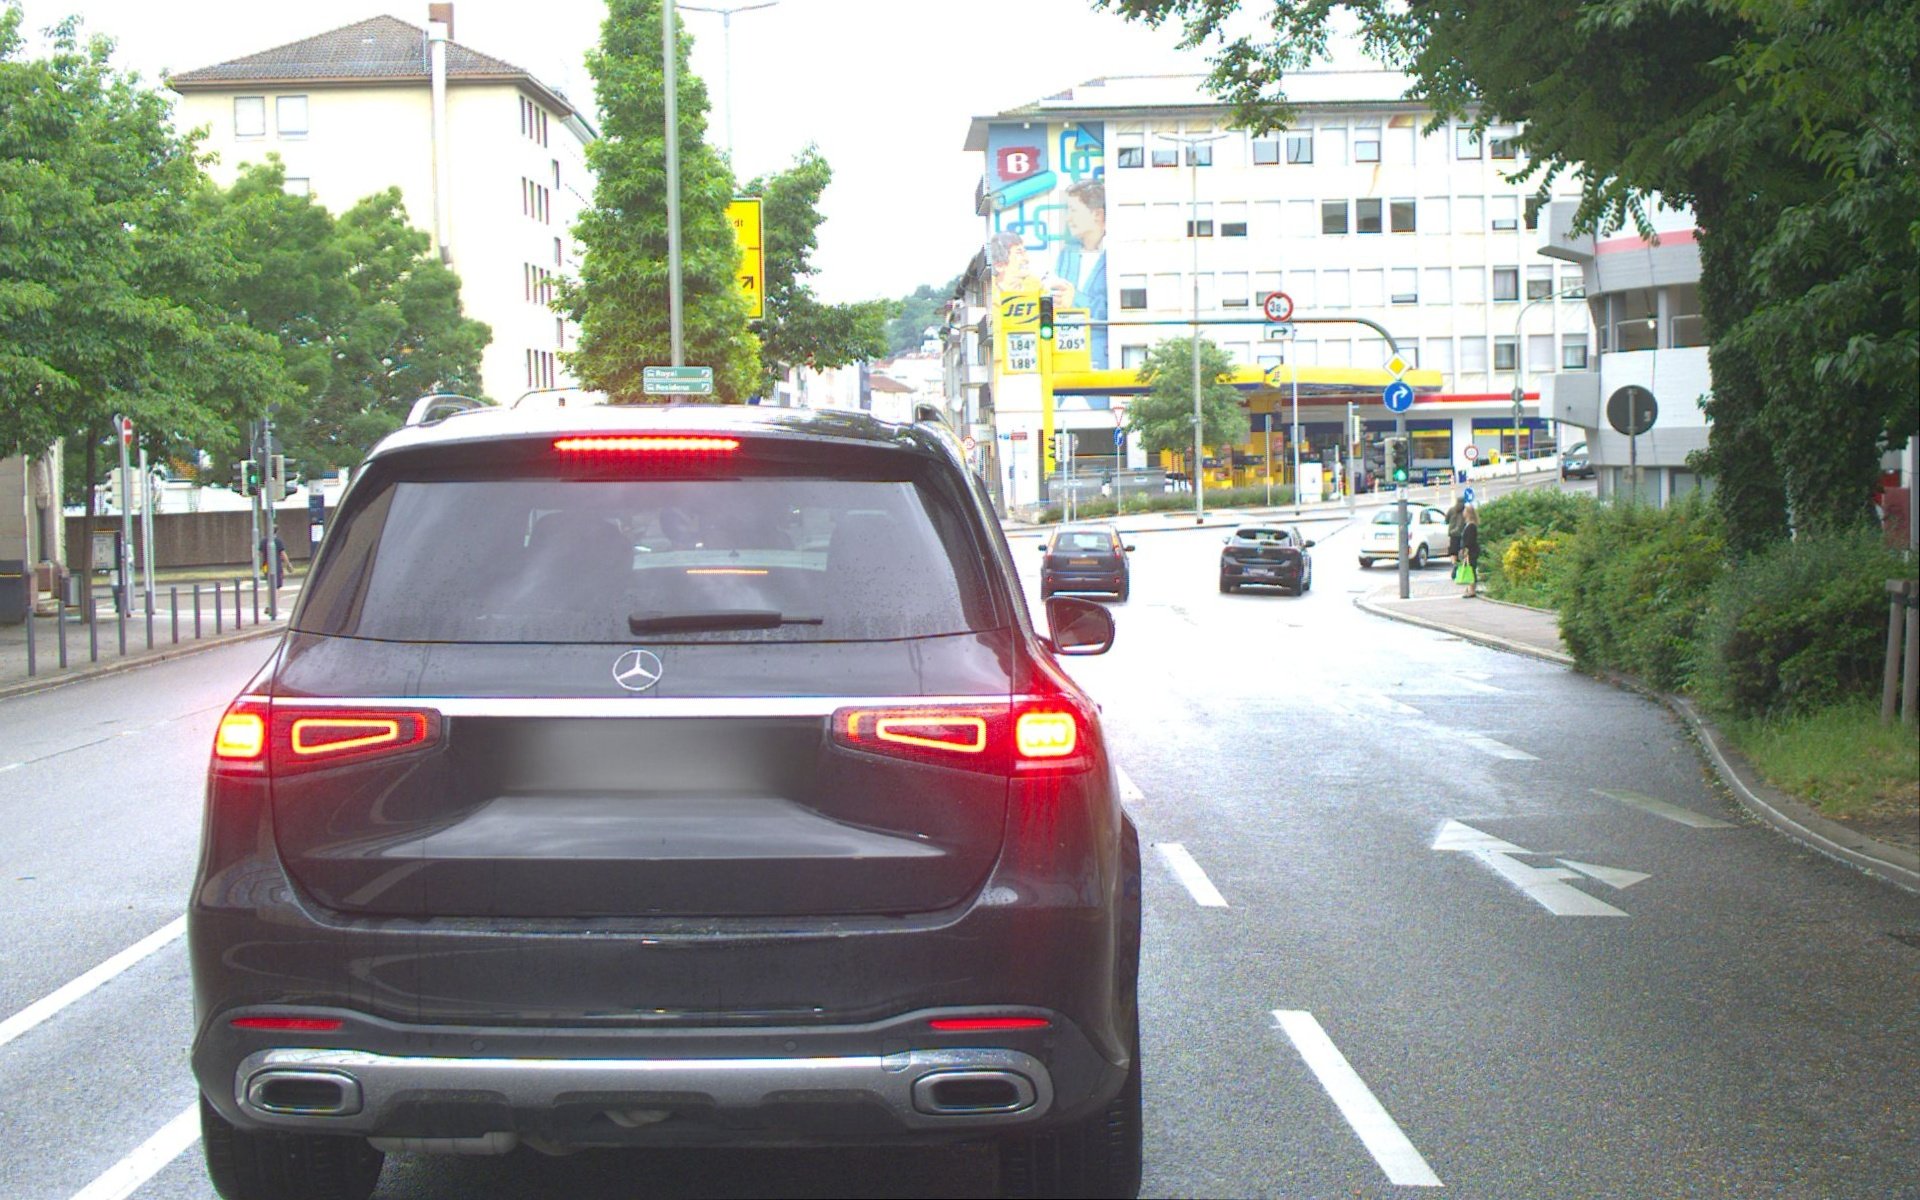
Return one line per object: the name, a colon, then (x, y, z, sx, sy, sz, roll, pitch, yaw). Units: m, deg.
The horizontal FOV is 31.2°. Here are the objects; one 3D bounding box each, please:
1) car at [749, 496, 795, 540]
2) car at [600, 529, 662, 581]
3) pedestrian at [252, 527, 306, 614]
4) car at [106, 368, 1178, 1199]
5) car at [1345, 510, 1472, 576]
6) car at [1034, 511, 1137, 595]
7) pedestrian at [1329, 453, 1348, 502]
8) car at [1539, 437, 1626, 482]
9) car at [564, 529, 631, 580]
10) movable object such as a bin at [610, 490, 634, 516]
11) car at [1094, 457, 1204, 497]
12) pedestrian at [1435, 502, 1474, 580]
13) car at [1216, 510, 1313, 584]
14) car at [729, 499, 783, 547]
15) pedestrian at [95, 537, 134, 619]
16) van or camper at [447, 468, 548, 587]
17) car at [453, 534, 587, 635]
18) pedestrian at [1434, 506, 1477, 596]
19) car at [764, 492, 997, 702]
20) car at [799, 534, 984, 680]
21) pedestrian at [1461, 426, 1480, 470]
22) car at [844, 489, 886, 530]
car: (-8.131, -3.536, 148.862, 1.868, 1.833, 3.820, 1, 1, -2)
car: (-11.083, -1.516, 115.910, 1.905, 1.697, 4.001, 1, 1, -3)
pedestrian: (-13.419, -0.576, 67.725, 0.946, 1.699, 0.713, 1, 0, -17)
car: (-0.623, 0.455, 8.465, 1.993, 1.794, 4.000, 1, 1, -1)
car: (10.990, -1.373, 84.067, 1.757, 1.543, 3.994, 1, 1, 28)
car: (2.408, -0.940, 66.869, 1.796, 1.520, 4.056, 1, 2, -1)
pedestrian: (13.260, -4.299, 120.333, 0.572, 1.691, 0.631, 1, 0, 1)
car: (25.073, -5.668, 138.315, 1.997, 1.700, 3.993, 0, 2, 33)
car: (-11.002, -1.368, 104.427, 1.797, 1.489, 3.804, 1, 1, -3)
movable object such as a bin: (-13.859, -3.968, 141.011, 0.910, 1.034, 0.844, 1, 0, 1)
car: (7.054, -4.594, 128.514, 1.732, 1.371, 3.998, -3, 3, -44)
pedestrian: (10.789, -1.282, 75.026, 0.717, 1.684, 0.456, 1, 0, -6)
car: (6.412, -1.094, 72.109, 1.946, 1.481, 3.999, 1, 1, 6)
car: (-7.517, -2.821, 126.696, 1.905, 1.697, 4.001, 1, 1, -3)
pedestrian: (-17.326, -0.462, 70.454, 0.642, 1.660, 1.019, 1, 0, -6)
van or camper: (-10.691, -1.661, 79.796, 2.101, 2.573, 5.909, -3, 1, -6)
car: (-6.967, -0.270, 54.698, 1.741, 1.465, 3.883, -3, 1, -3)
pedestrian: (9.434, -0.929, 65.466, 0.646, 1.704, 0.470, 1, 0, 36)
car: (-0.710, -0.046, 31.824, 1.993, 1.794, 4.000, 1, 1, -1)
car: (-0.739, 0.054, 37.862, 1.907, 1.496, 4.000, 1, 1, -1)
pedestrian: (20.299, -6.028, 136.620, 0.526, 1.721, 0.688, 0, 2, 26)
car: (-4.873, -4.656, 176.568, 1.993, 2.007, 4.000, 1, 1, 0)
